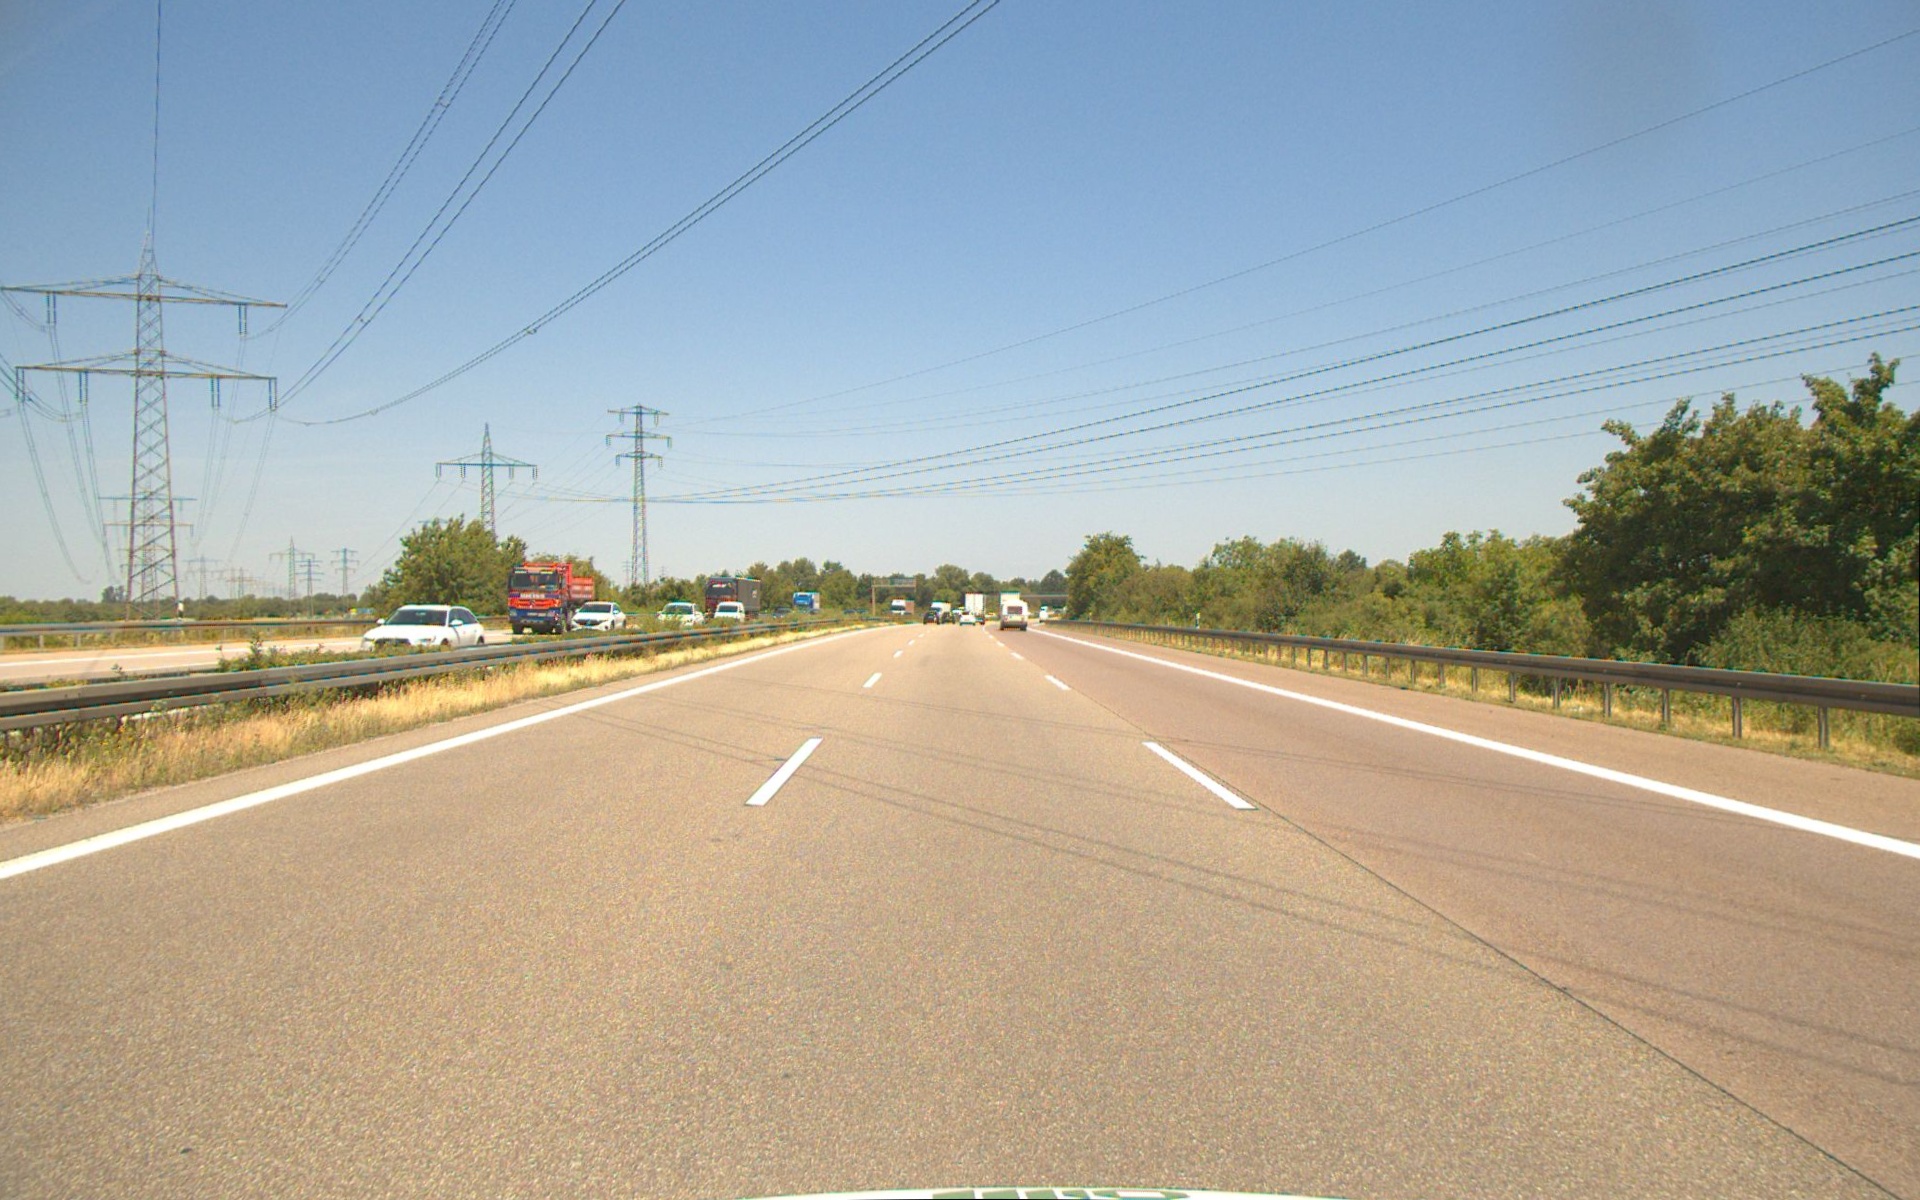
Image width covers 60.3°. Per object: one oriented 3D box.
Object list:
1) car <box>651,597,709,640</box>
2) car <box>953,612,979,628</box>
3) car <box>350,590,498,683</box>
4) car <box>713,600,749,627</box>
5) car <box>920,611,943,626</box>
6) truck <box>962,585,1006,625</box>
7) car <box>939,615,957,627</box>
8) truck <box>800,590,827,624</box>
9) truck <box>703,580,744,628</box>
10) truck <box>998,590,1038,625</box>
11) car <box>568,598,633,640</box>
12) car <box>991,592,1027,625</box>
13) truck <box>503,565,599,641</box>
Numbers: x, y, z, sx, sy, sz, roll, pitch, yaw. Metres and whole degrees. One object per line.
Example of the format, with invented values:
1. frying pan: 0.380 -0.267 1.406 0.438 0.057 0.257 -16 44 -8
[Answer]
1. car: -13.131 0.844 77.897 1.953 1.885 4.534 1 0 0
2. car: 0.680 2.133 176.724 1.789 1.574 4.322 2 0 13
3. car: -12.779 0.813 39.766 1.953 2.049 4.920 1 0 0
4. car: -16.056 0.921 116.040 1.931 1.804 4.368 1 0 0
5. car: -3.166 2.031 183.348 1.789 1.574 4.322 2 0 9
6. truck: 3.321 0.693 224.560 3.588 5.106 16.030 1 0 9
7. car: -1.629 2.858 228.658 1.789 1.574 4.322 2 0 9
8. truck: -17.995 0.867 203.656 2.403 4.045 9.671 -1 0 0
9. truck: -20.553 0.343 143.951 2.594 4.052 5.991 1 0 0
10. truck: 7.715 1.011 218.361 3.113 4.379 16.030 1 0 10
11. car: -16.256 0.844 74.975 1.953 1.792 4.534 1 0 0
12. car: 3.582 0.596 121.095 2.393 2.362 5.320 0 0 -1
13. truck: -20.555 0.105 83.574 2.714 3.588 8.532 1 0 0
